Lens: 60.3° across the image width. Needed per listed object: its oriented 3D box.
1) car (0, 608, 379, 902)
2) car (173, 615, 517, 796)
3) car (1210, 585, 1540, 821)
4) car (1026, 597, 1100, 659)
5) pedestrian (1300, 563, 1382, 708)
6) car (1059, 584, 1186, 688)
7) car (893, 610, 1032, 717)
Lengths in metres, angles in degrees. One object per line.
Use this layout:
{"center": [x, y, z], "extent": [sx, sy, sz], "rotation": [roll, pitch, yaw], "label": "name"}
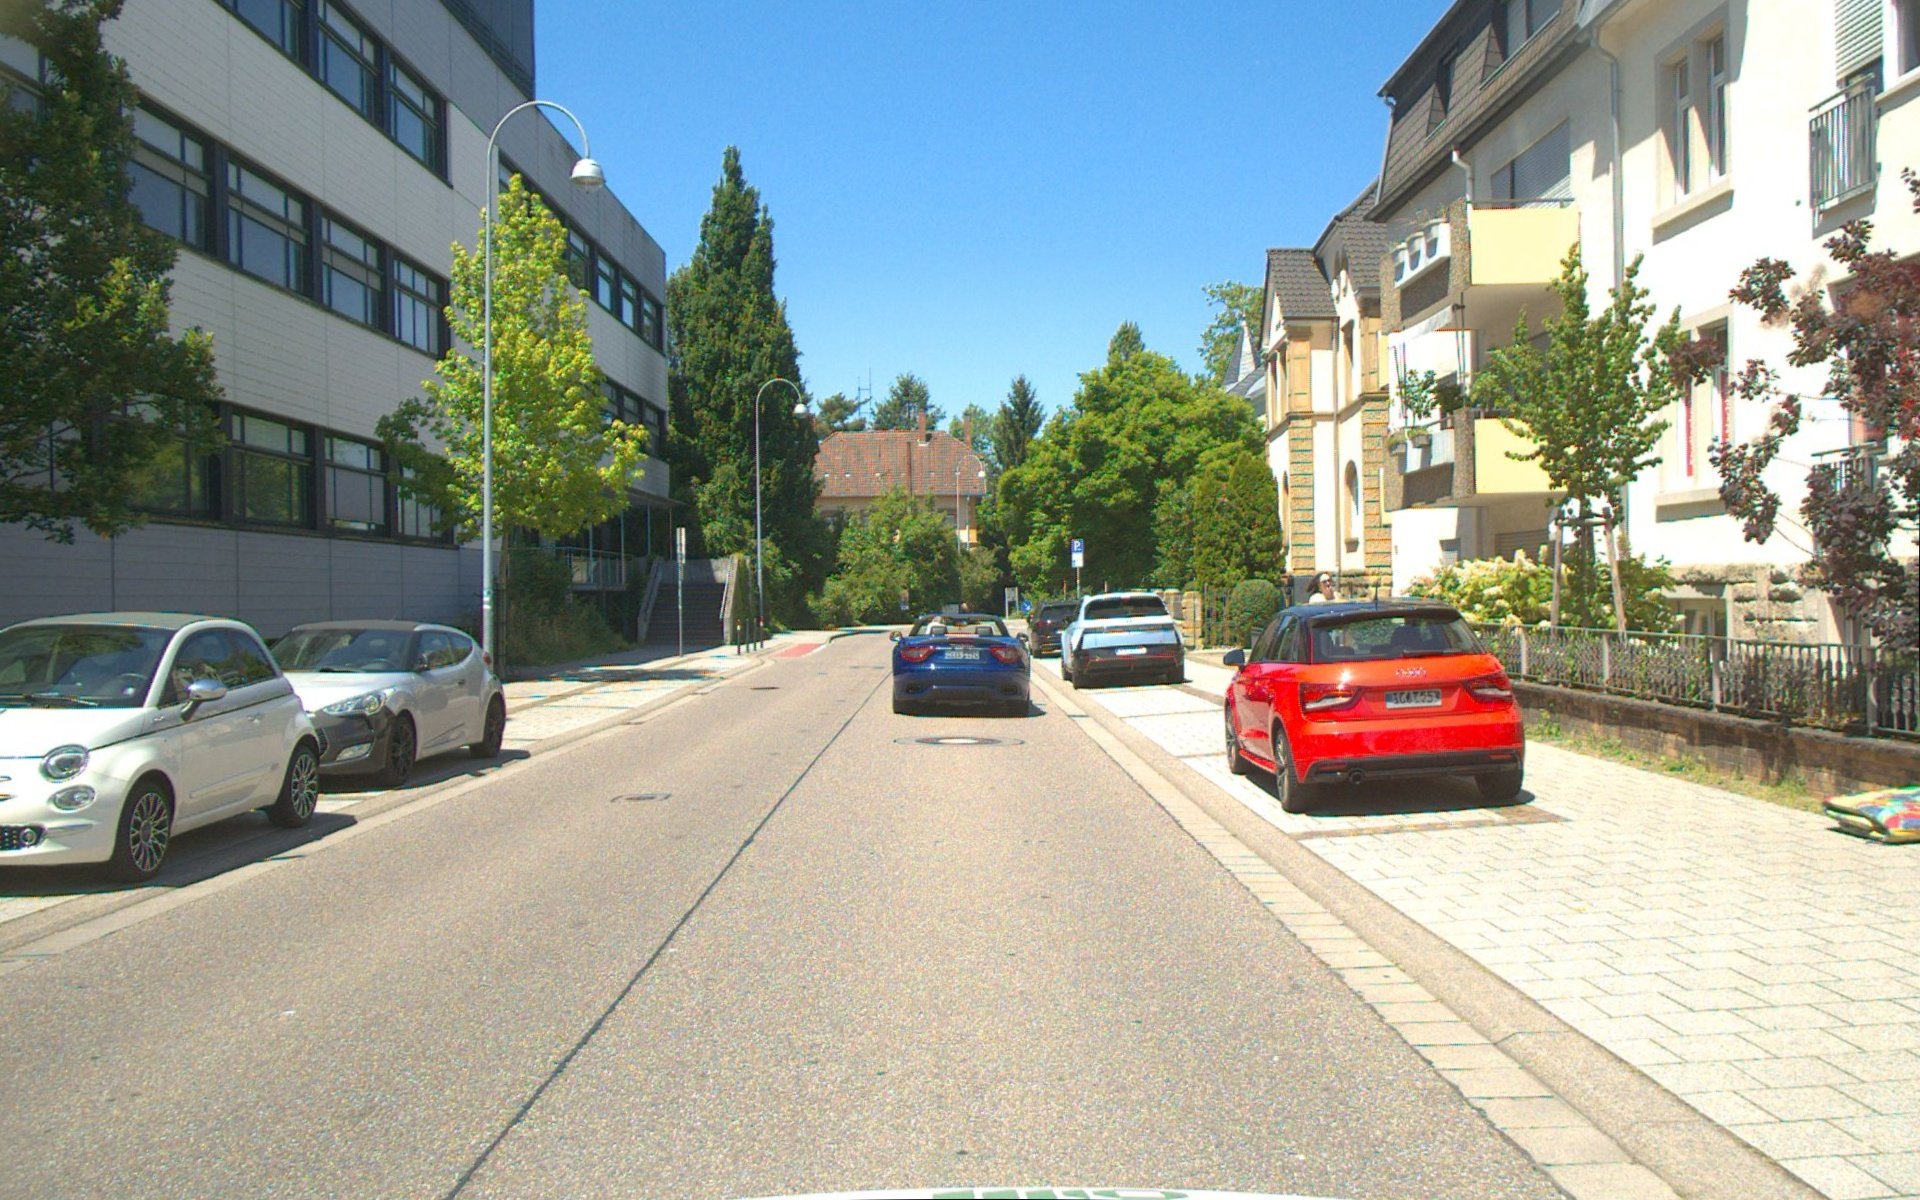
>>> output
{"center": [-5.504, 0.837, 10.958], "extent": [1.785, 1.538, 4.289], "rotation": [0, 0, 0], "label": "car"}
{"center": [-5.625, 0.893, 15.671], "extent": [1.712, 1.434, 3.933], "rotation": [1, 0, 1], "label": "car"}
{"center": [3.047, 0.678, 12.909], "extent": [1.571, 1.466, 3.853], "rotation": [-4, 0, 1], "label": "car"}
{"center": [2.710, 0.706, 44.355], "extent": [1.598, 1.471, 4.397], "rotation": [-4, 0, 0], "label": "car"}
{"center": [4.634, 0.422, 20.163], "extent": [0.725, 1.698, 0.705], "rotation": [-3, 0, -2], "label": "pedestrian"}
{"center": [2.842, 0.595, 29.832], "extent": [1.806, 1.647, 4.427], "rotation": [-3, 0, 0], "label": "car"}
{"center": [0.022, 0.833, 23.663], "extent": [1.789, 1.360, 4.699], "rotation": [0, 0, 0], "label": "car"}
